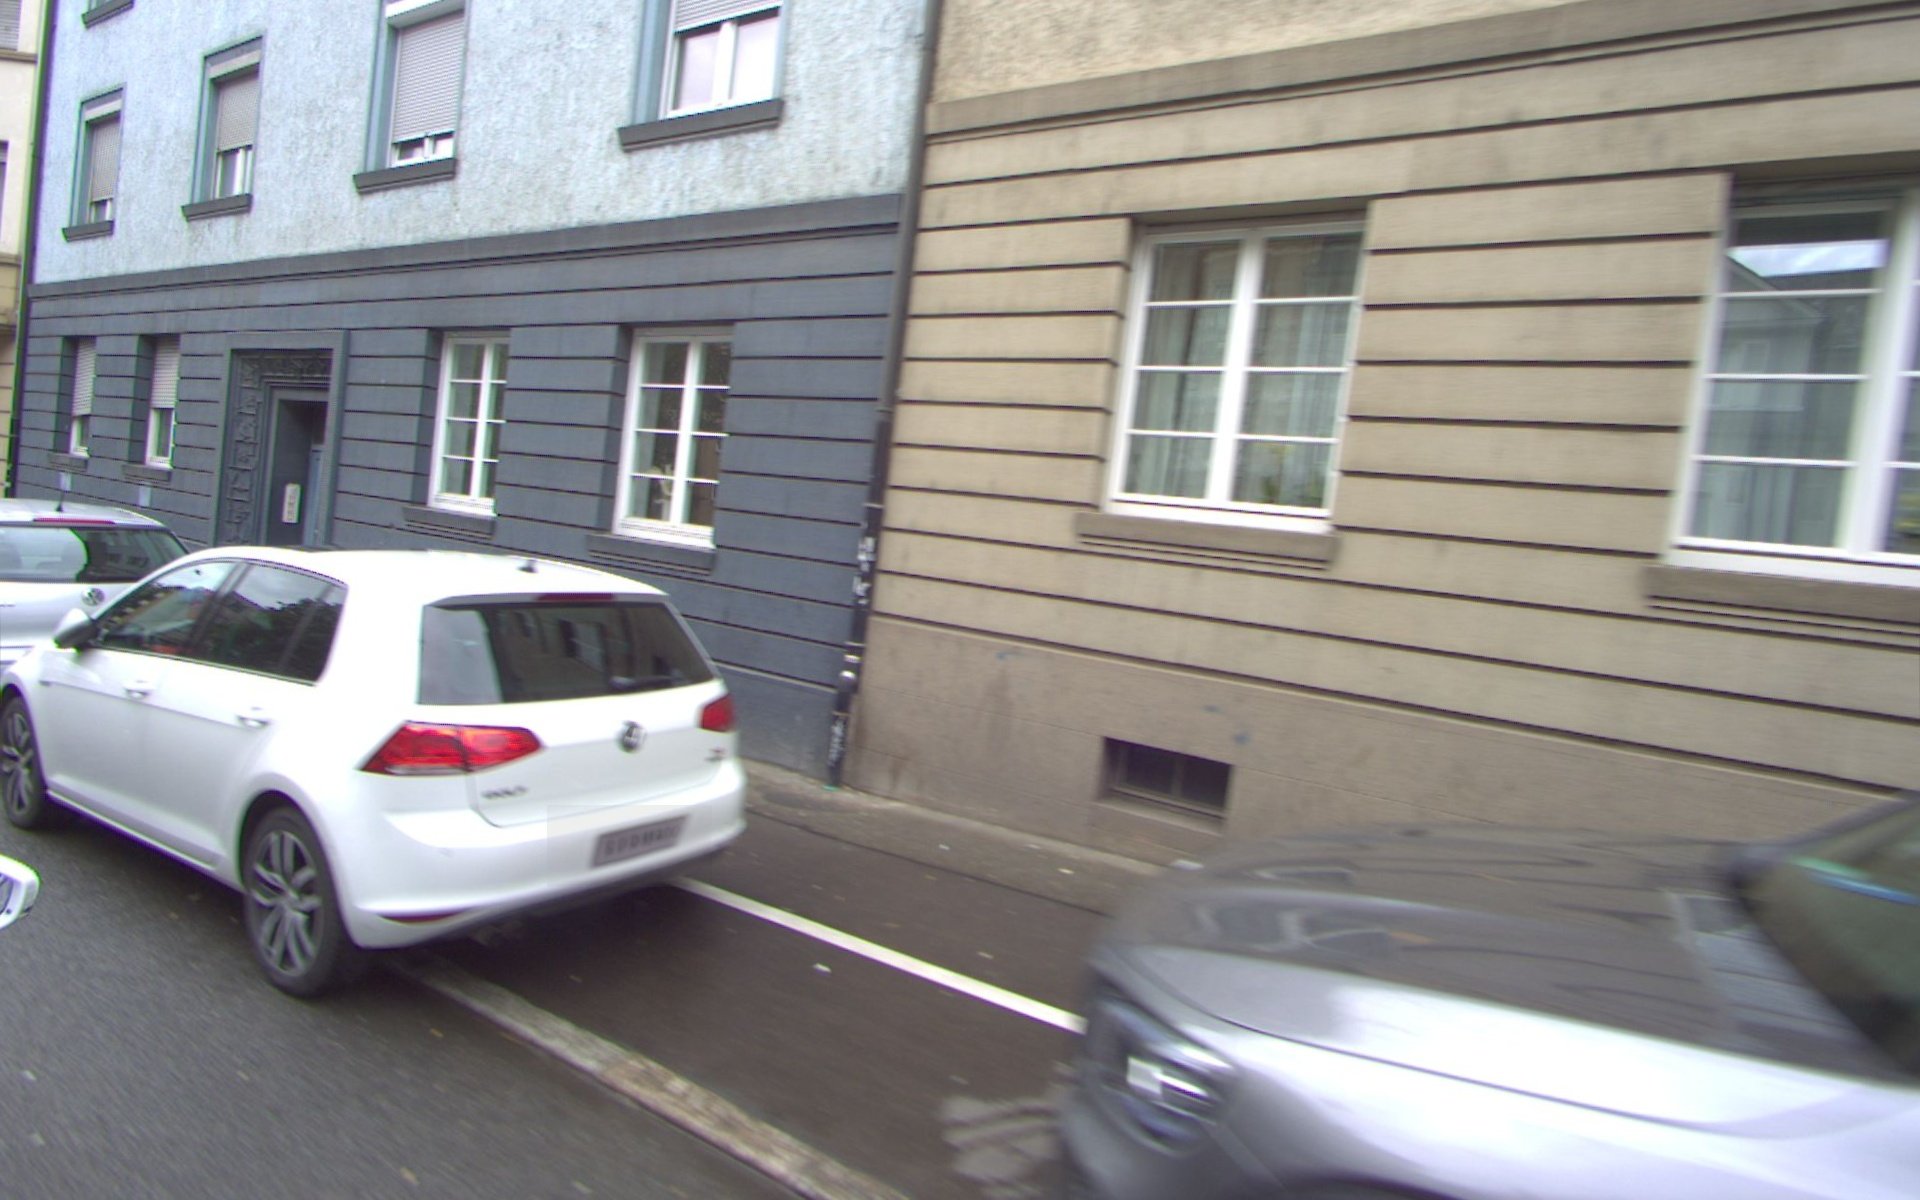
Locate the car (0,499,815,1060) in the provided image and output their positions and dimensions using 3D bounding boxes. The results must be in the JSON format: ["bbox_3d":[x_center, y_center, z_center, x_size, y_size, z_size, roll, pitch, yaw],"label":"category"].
[{"bbox_3d":[-2.780,0.429,4.634,3.907,1.449,1.729,7,3,32],"label":"car"}]

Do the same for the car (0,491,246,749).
[{"bbox_3d":[-6.820,-0.022,7.139,3.535,1.449,1.583,7,3,32],"label":"car"}]

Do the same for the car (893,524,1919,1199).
[{"bbox_3d":[2.143,0.911,1.481,4.138,1.642,1.842,6,1,31],"label":"car"}]
